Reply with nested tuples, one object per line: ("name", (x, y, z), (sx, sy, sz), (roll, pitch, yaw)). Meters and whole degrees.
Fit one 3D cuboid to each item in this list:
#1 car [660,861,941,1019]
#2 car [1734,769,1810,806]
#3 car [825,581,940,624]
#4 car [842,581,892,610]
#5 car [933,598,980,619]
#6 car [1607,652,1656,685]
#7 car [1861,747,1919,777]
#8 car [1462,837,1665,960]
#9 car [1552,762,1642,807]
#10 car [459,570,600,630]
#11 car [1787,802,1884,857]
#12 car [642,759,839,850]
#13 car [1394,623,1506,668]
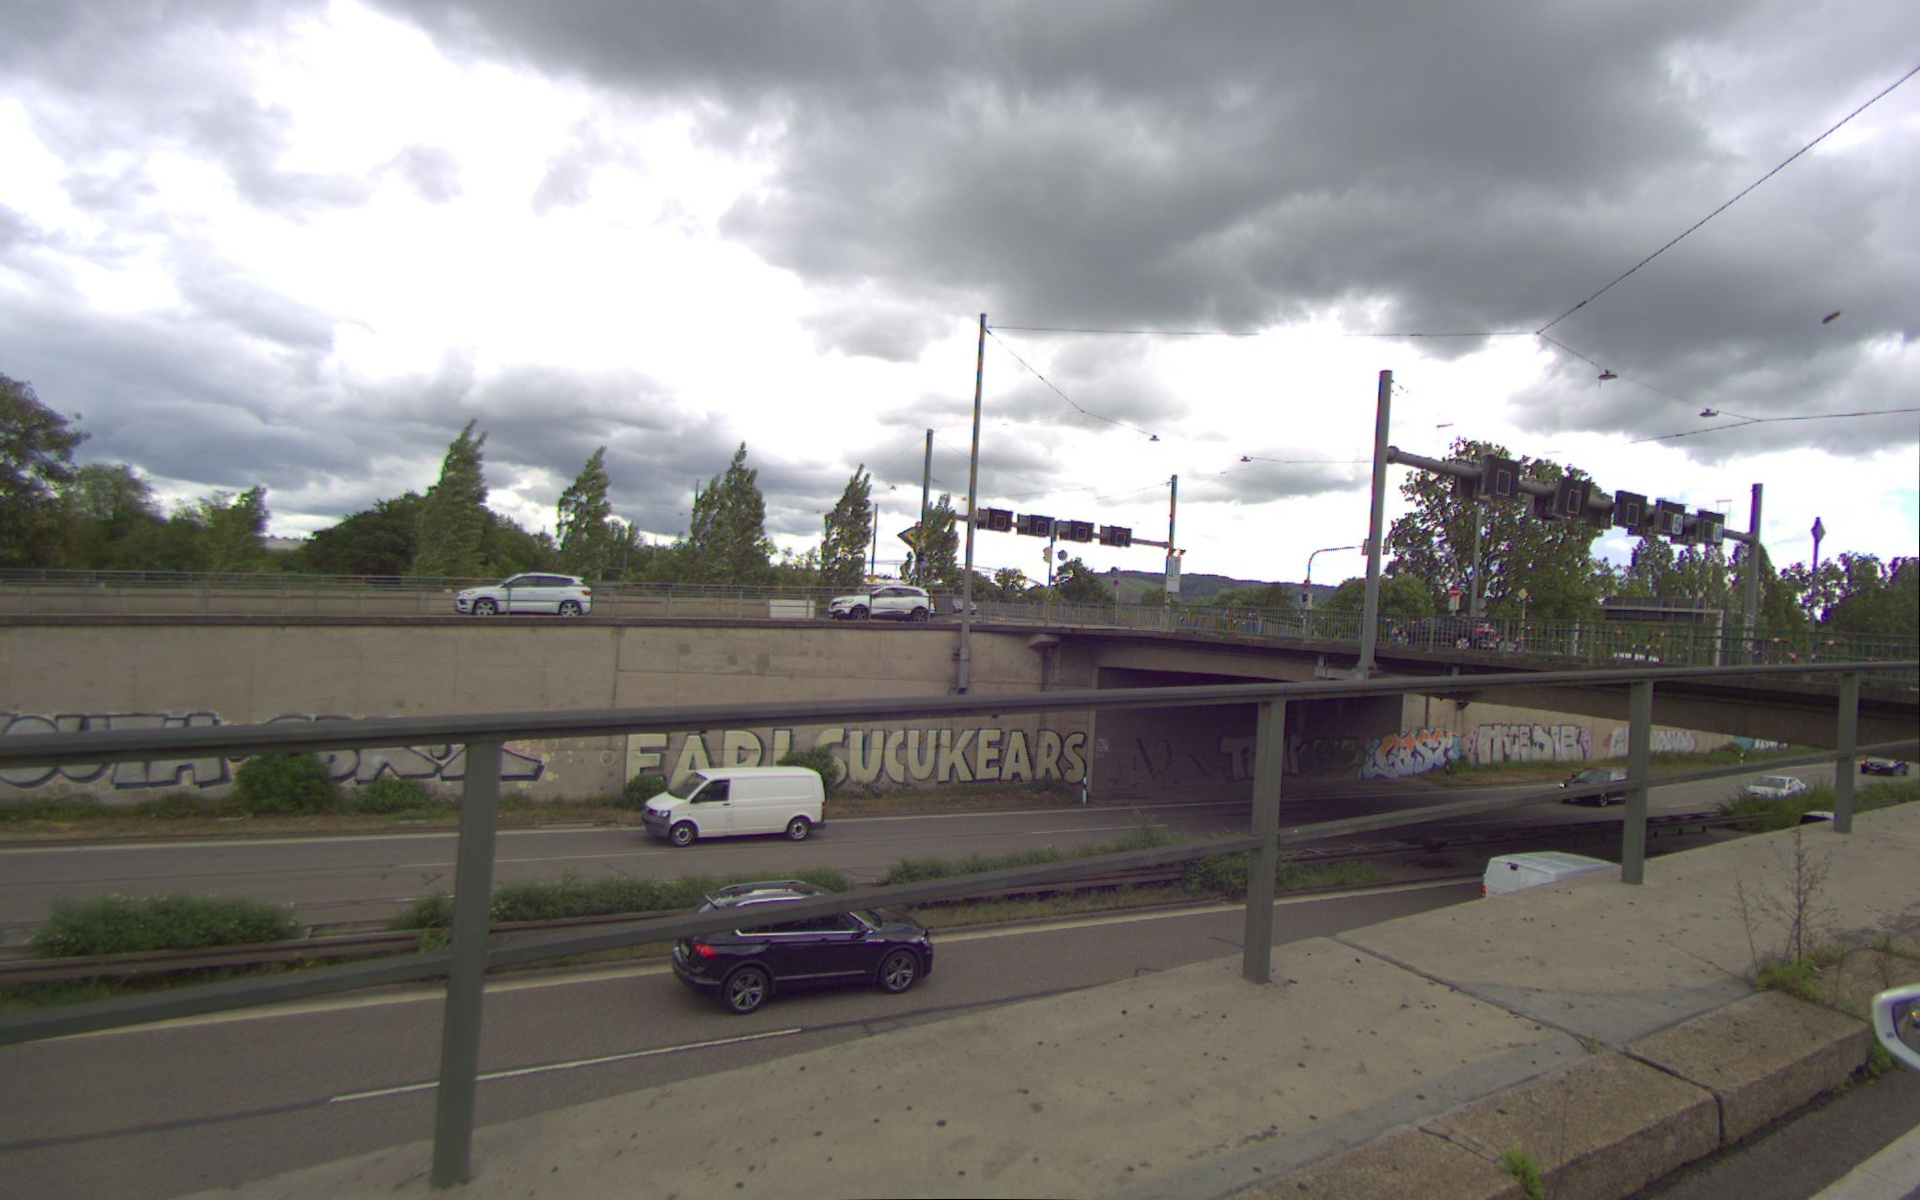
("car", (-2.647, 5.575, 16.897), (4.228, 1.735, 1.833), (5, -2, -28))
("car", (42.300, 9.739, 52.314), (4.041, 1.548, 1.720), (5, -2, -31))
("car", (-3.129, 0.116, 40.678), (4.292, 1.597, 1.825), (1, 0, -29))
("car", (-7.012, -0.350, 75.501), (1.711, 2.040, 4.442), (1, 0, -35))
("car", (-0.277, 0.573, 69.918), (1.537, 1.372, 3.860), (1, 0, -31))
("car", (49.558, 5.024, 74.129), (3.626, 2.245, 1.843), (1, 0, -35))
("car", (68.289, 11.884, 73.751), (4.360, 1.865, 1.921), (5, -2, -31))
("car", (13.999, 6.774, 23.223), (4.842, 1.960, 1.939), (5, -2, -31))
("car", (30.992, 8.924, 48.808), (4.503, 1.761, 1.905), (5, -3, -32))
("car", (-14.579, 0.034, 34.065), (4.164, 1.895, 1.984), (1, 0, -31))
("car", (32.748, 8.536, 37.544), (3.639, 1.573, 1.550), (5, -2, -29))
("car", (-6.323, 5.837, 29.118), (5.120, 2.094, 1.983), (5, -2, -31))
("car", (21.218, 1.916, 43.642), (1.916, 1.740, 3.966), (1, 0, -31))
